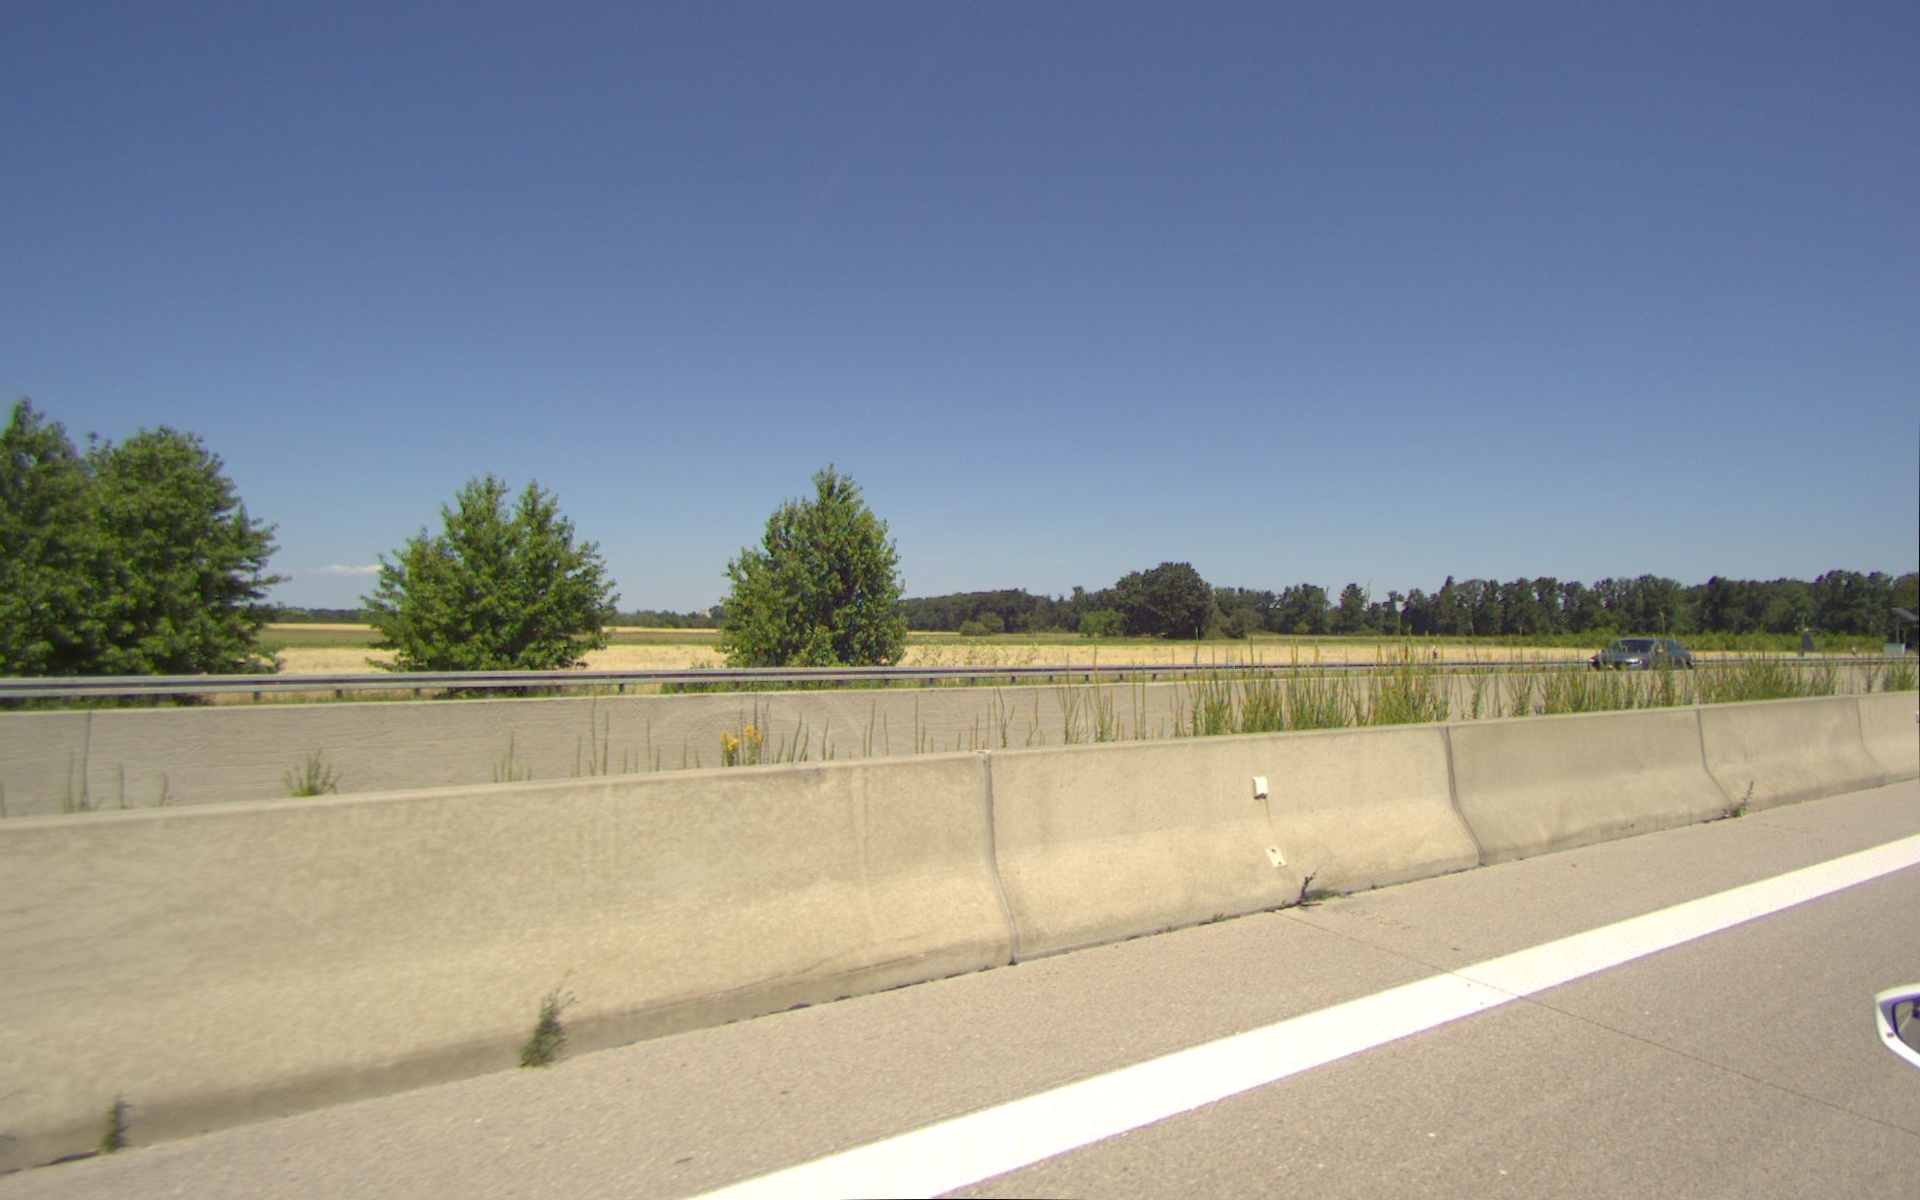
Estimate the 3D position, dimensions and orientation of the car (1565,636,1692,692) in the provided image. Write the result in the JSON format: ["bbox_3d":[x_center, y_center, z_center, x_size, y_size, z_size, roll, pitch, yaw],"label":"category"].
[{"bbox_3d":[22.750,2.130,34.140,4.788,1.706,1.744,2,0,-32],"label":"car"}]
